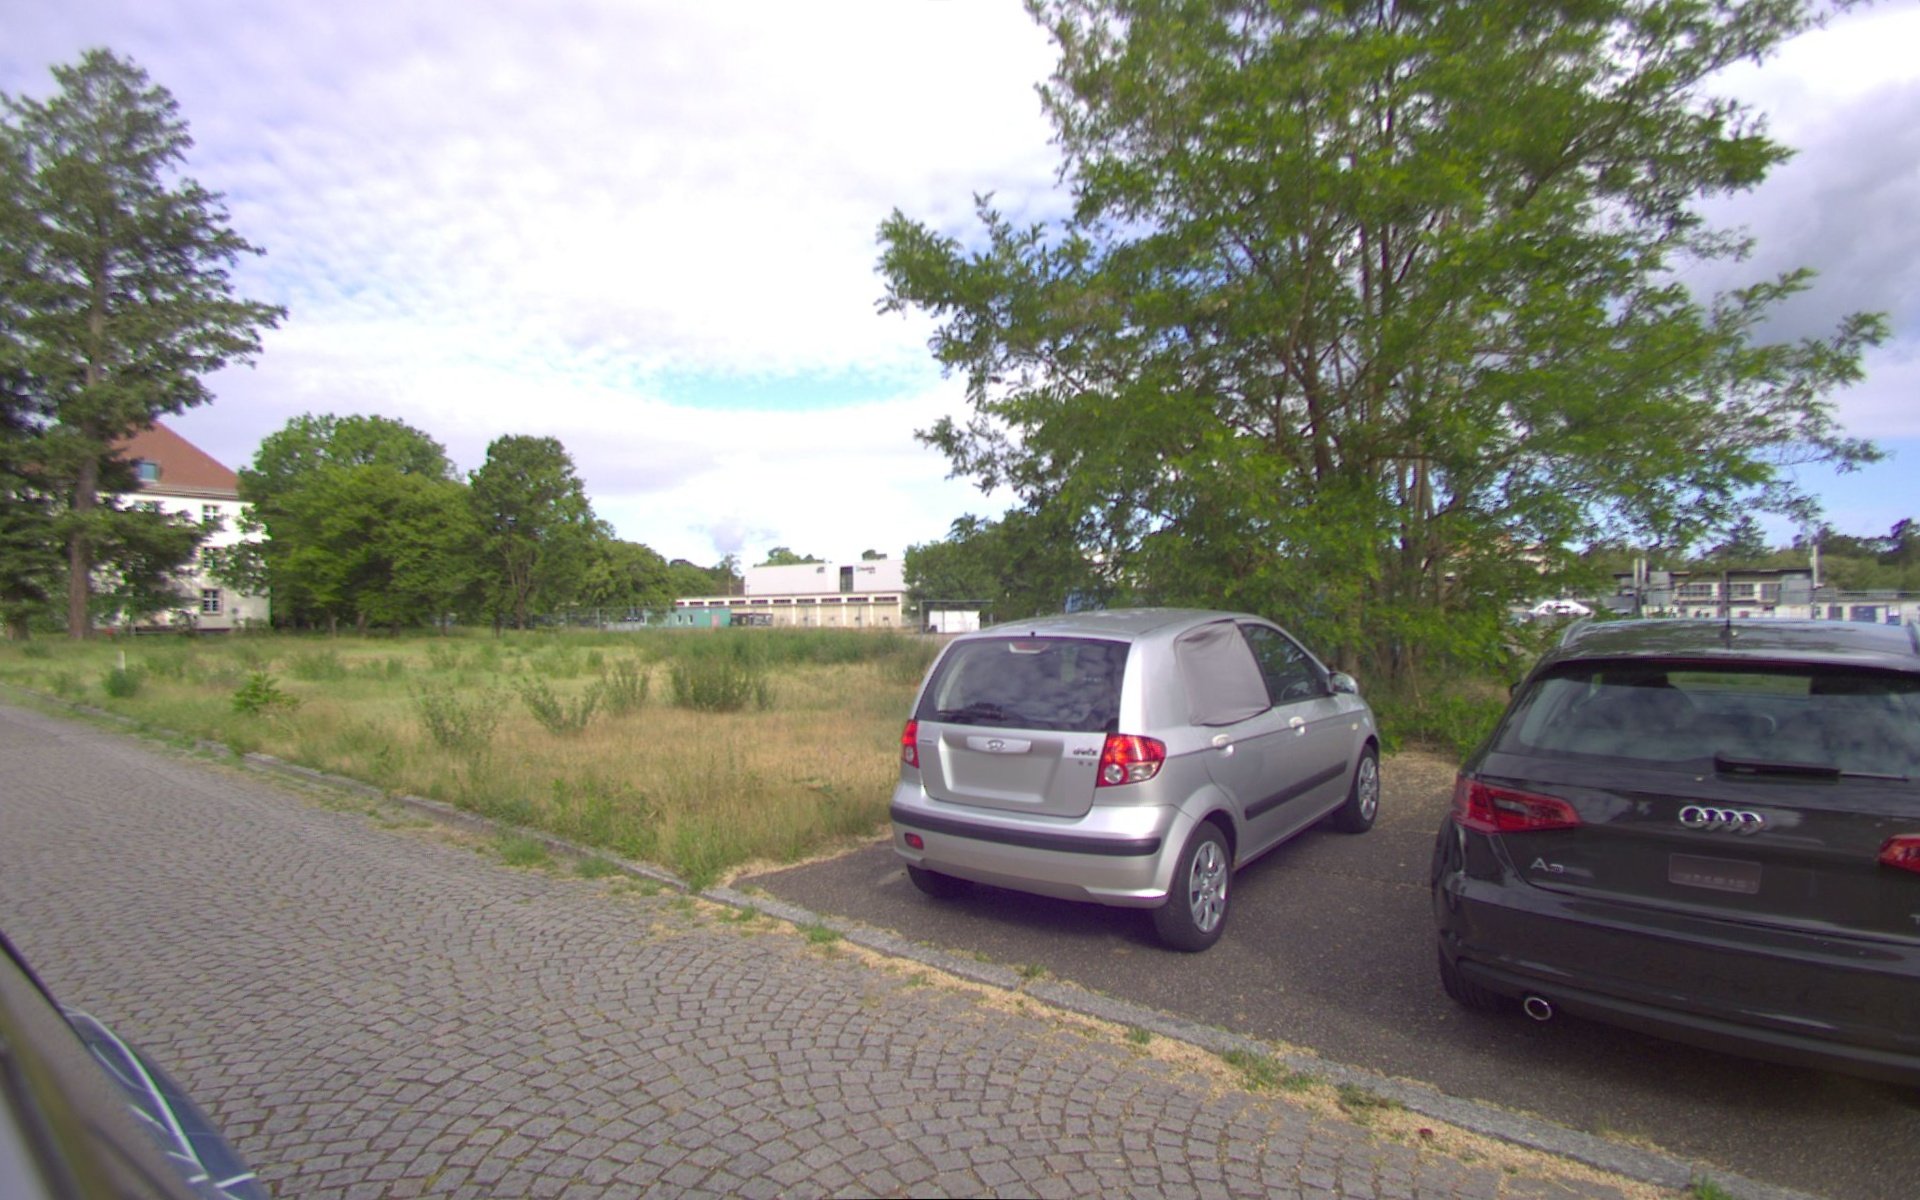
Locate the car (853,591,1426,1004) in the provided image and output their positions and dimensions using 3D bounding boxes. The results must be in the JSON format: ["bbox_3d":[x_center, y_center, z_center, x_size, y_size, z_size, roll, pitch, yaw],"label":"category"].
[{"bbox_3d":[1.357,0.756,5.960,1.678,1.467,3.937,-1,1,37],"label":"car"}]

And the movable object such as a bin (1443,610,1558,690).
[{"bbox_3d":[8.910,0.777,16.623,1.169,1.221,2.505,-1,-1,40],"label":"movable object such as a bin"}]

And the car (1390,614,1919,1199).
[{"bbox_3d":[3.491,0.794,4.386,1.882,1.433,4.575,-1,-2,38],"label":"car"}]
